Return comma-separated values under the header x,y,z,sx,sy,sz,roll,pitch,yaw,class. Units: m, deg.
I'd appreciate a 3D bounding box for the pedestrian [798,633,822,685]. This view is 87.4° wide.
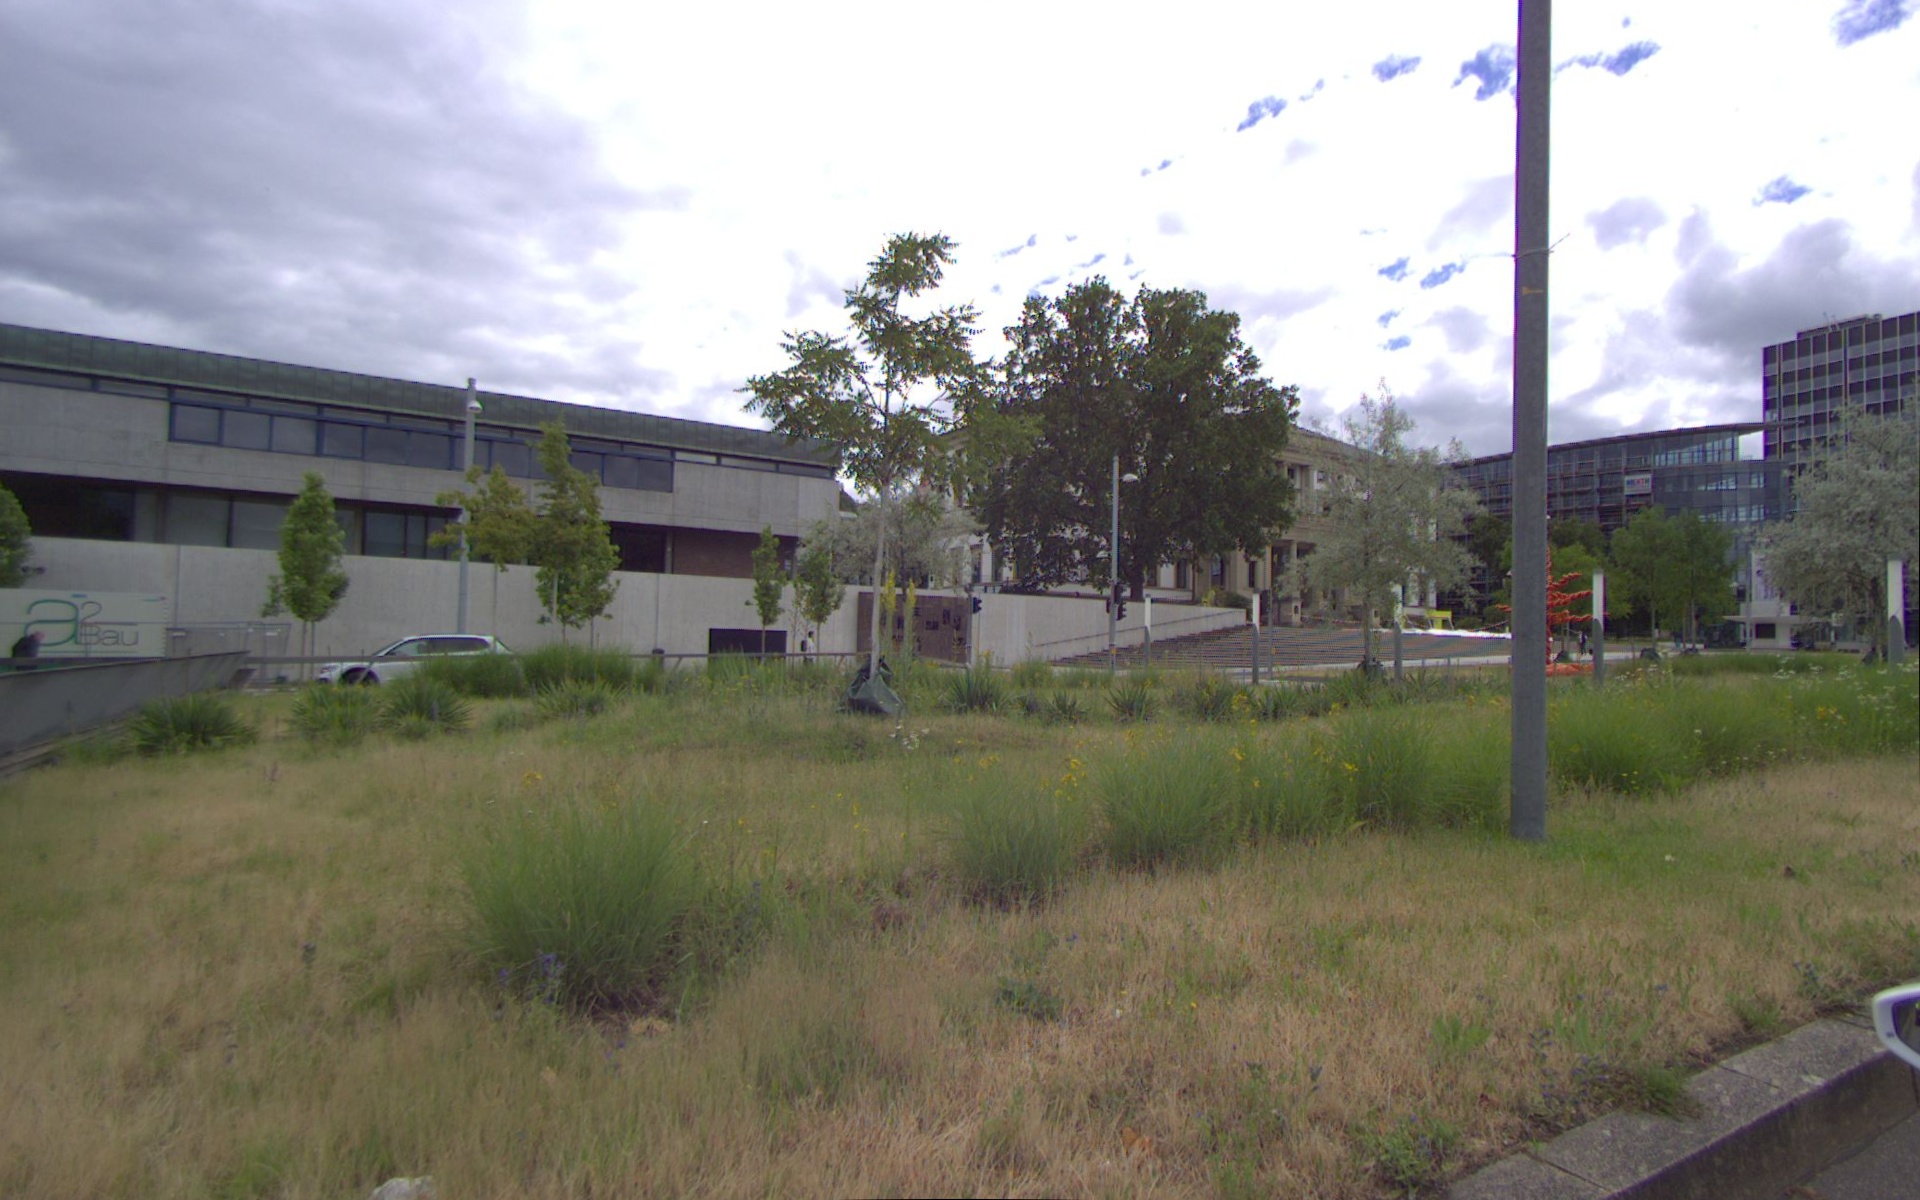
x,y,z,sx,sy,sz,roll,pitch,yaw,class
-5.179,2.041,34.770,0.656,1.756,0.537,1,-1,-30,pedestrian

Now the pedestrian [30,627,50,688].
x,y,z,sx,sy,sz,roll,pitch,yaw,class
-23.569,1.456,25.740,0.314,1.542,0.315,2,-1,-37,pedestrian

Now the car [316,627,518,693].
x,y,z,sx,sy,sz,roll,pitch,yaw,class
-14.211,1.531,26.504,4.556,1.595,1.711,1,-1,-29,car

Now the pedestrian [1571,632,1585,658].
x,y,z,sx,sy,sz,roll,pitch,yaw,class
40.570,2.926,65.920,0.643,1.671,0.521,1,-1,-32,pedestrian
